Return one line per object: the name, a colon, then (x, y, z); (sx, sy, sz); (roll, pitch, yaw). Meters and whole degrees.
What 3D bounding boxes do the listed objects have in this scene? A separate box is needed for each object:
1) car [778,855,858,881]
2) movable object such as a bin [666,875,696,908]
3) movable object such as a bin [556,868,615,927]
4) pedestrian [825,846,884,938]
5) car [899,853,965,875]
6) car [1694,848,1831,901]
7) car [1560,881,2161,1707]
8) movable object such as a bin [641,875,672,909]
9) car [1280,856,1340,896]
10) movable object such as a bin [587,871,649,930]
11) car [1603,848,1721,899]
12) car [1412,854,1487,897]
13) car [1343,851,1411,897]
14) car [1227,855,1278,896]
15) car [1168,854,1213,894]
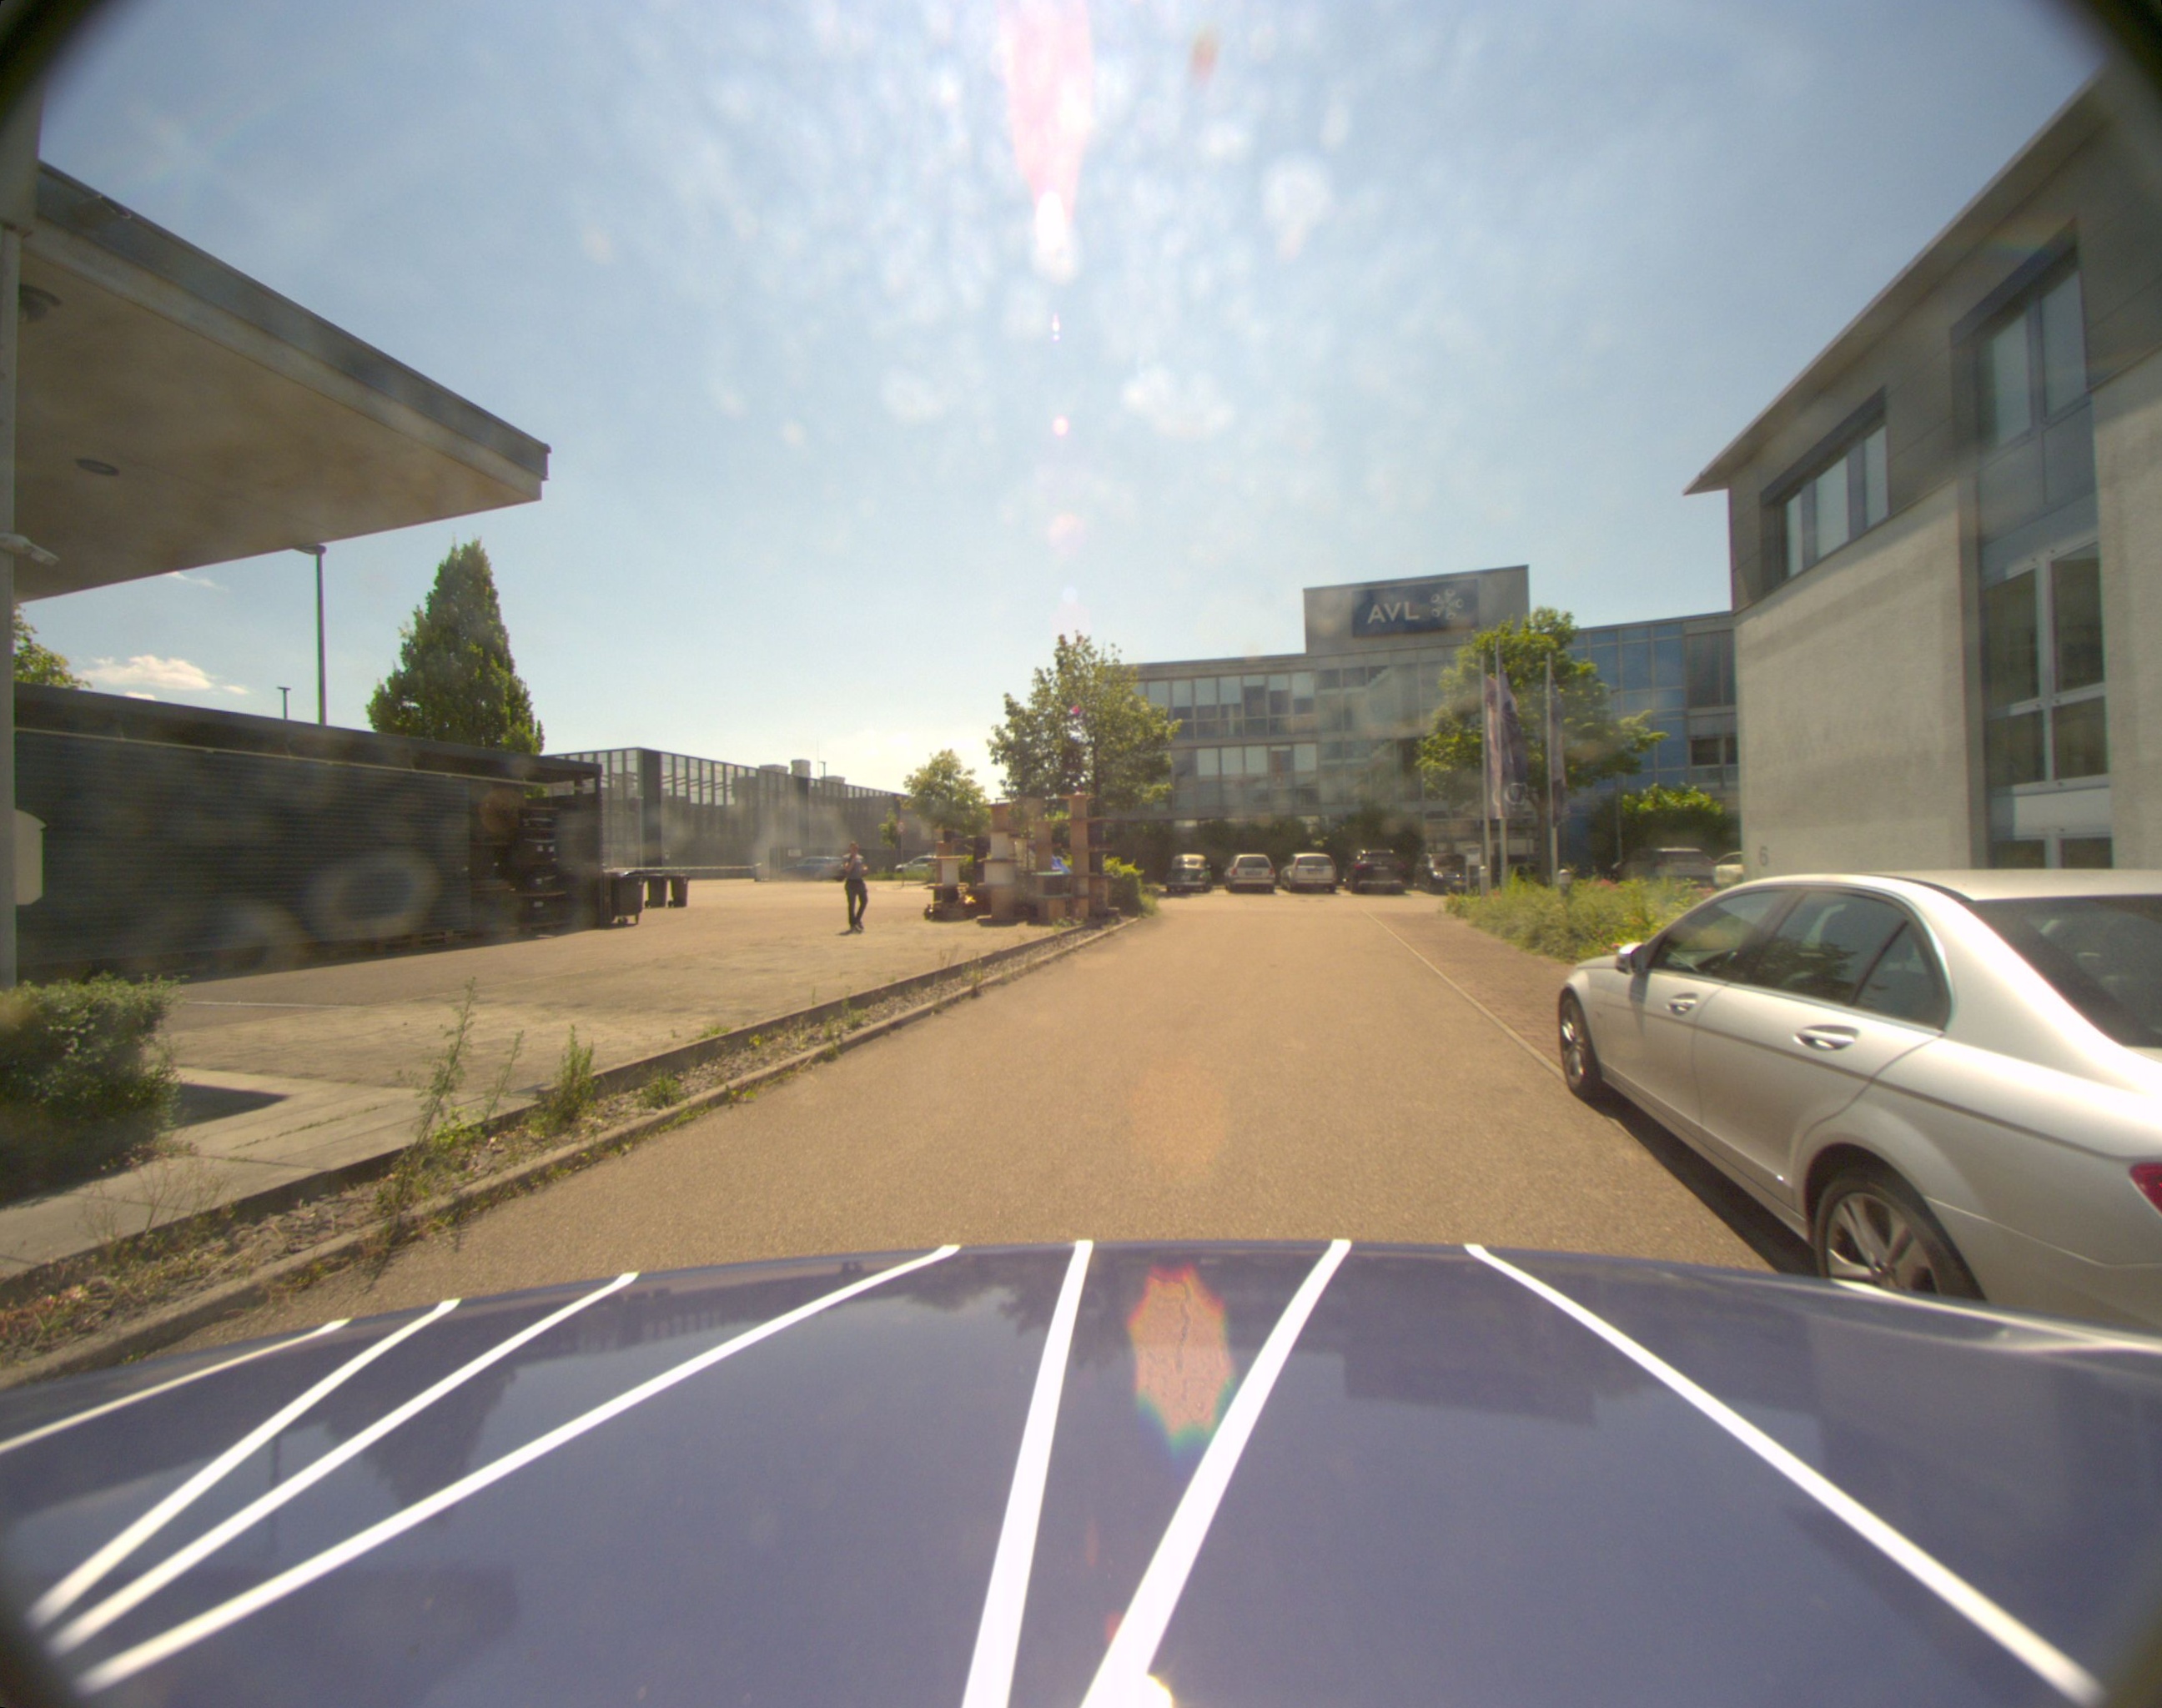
car: (-15.274, 0.810, 44.129); (4.434, 1.401, 1.863); (-1, 0, 28)
movable object such as a bin: (-11.333, 1.055, 21.526); (0.585, 0.912, 0.547); (-1, 2, -9)
movable object such as a bin: (-11.298, 0.974, 17.341); (0.754, 1.290, 0.803); (0, 2, 24)
pedestrian: (-4.534, 0.730, 15.211); (0.811, 1.759, 0.766); (-3, 2, -45)
car: (-10.354, 0.668, 52.733); (4.402, 1.467, 1.784); (0, 0, 31)
car: (22.660, 0.614, 25.489); (1.830, 1.628, 4.176); (0, 0, 17)
car: (3.244, 0.910, 2.634); (1.731, 1.448, 4.153); (0, 0, 18)
movable object such as a bin: (-11.977, 1.074, 21.433); (0.585, 0.912, 0.547); (-1, 2, -9)
car: (8.929, 0.814, 29.854); (1.730, 1.444, 3.602); (0, 1, 8)
movable object such as a bin: (-10.277, 1.012, 16.876); (0.874, 1.242, 0.803); (0, 2, 24)
car: (20.228, 0.619, 26.677); (1.830, 1.628, 4.176); (0, 0, 15)
car: (13.708, 0.757, 28.507); (1.728, 1.475, 4.402); (-1, 0, 15)
car: (11.233, 0.705, 29.085); (1.936, 1.593, 3.863); (0, 1, 14)
car: (6.658, 0.799, 29.802); (1.641, 1.444, 3.602); (1, 1, 8)
car: (4.400, 0.733, 30.203); (1.520, 1.437, 3.422); (0, 1, 12)
